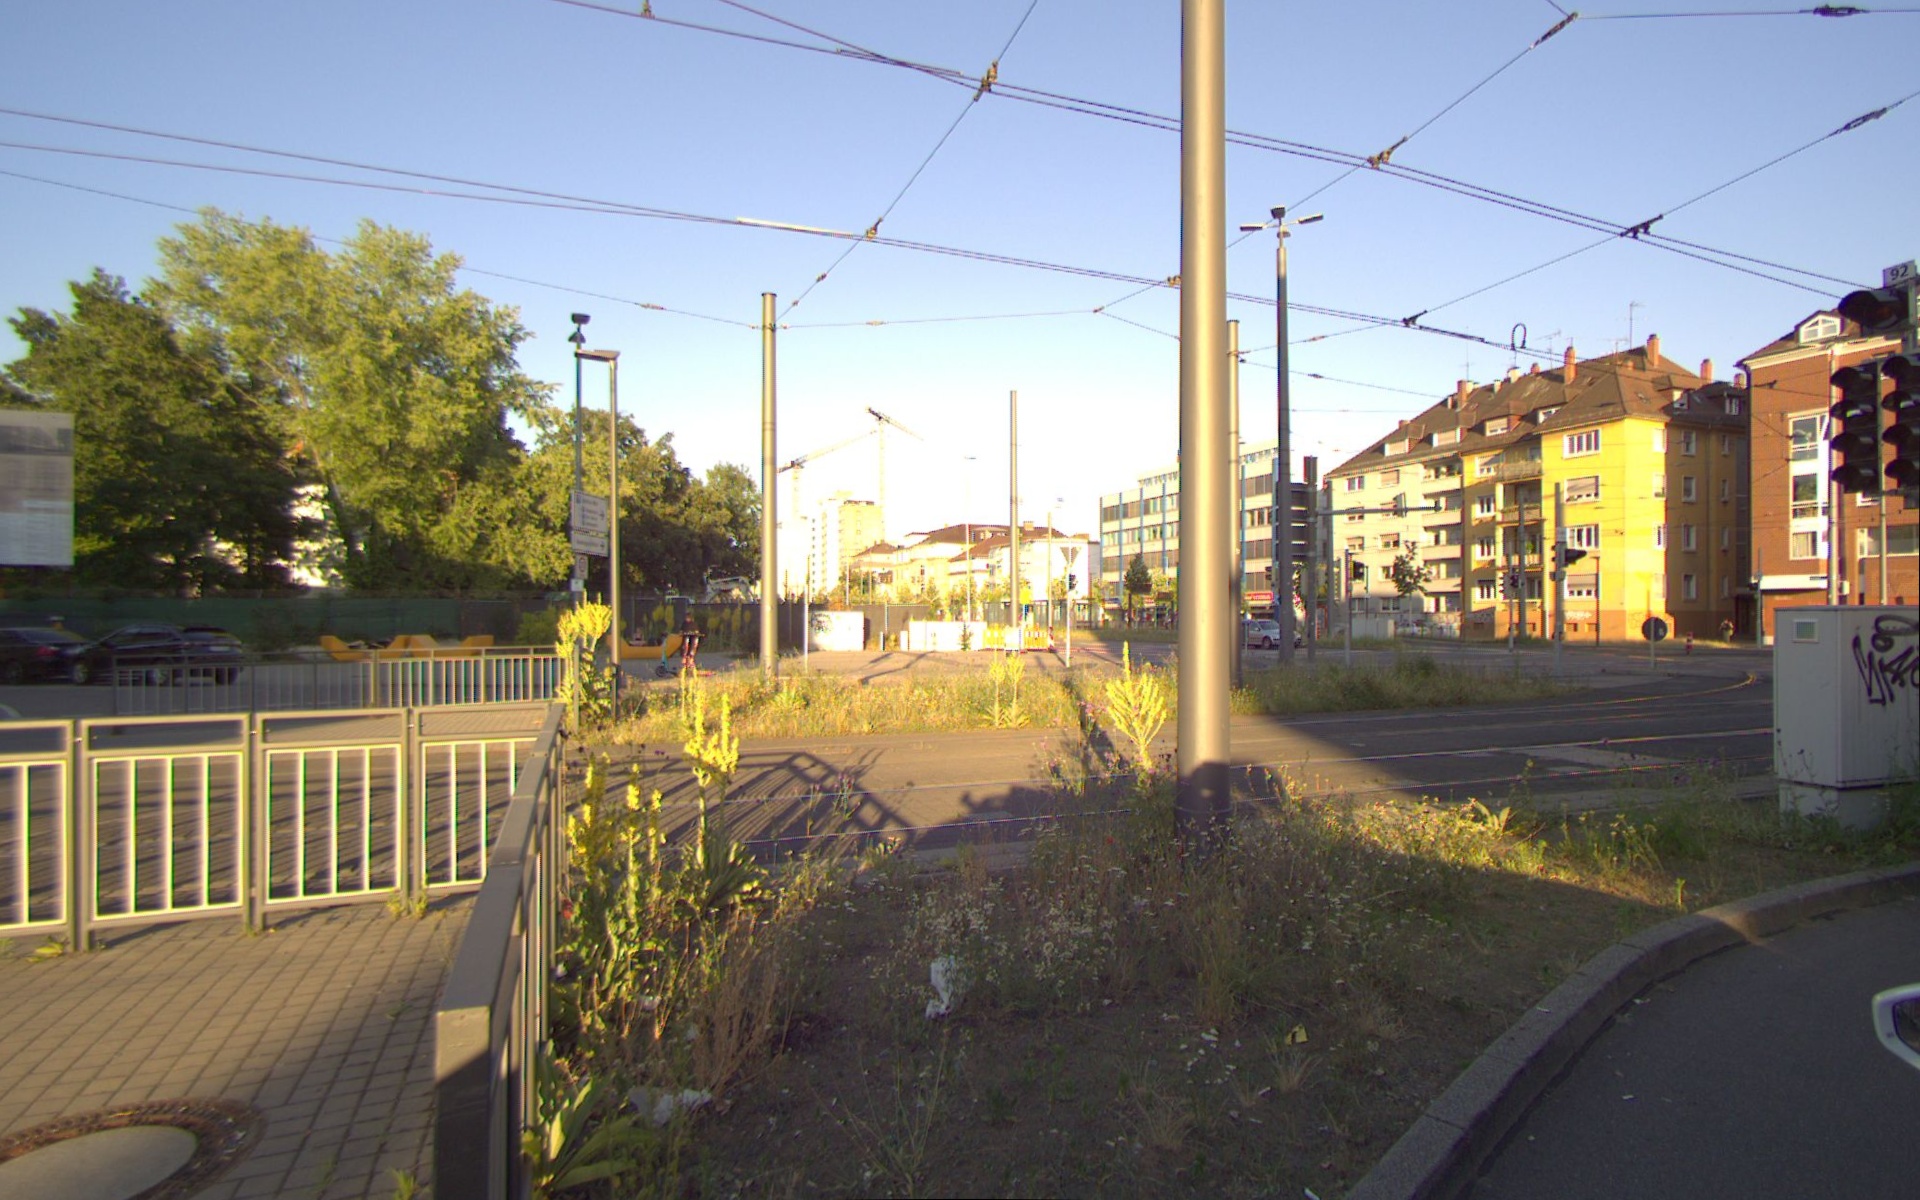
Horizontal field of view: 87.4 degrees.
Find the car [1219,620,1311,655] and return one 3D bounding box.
[{"bbox_3d":[15.032,1.799,49.717,1.973,1.572,4.325,0,0,-25],"label":"car"}]

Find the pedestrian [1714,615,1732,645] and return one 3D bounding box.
[{"bbox_3d":[46.161,1.804,60.777,0.684,1.766,0.661,1,0,-37],"label":"pedestrian"}]

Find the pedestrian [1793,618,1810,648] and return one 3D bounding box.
[{"bbox_3d":[47.875,1.870,57.133,0.493,1.664,0.550,0,1,-19],"label":"pedestrian"}]

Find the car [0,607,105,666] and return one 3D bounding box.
[{"bbox_3d":[-32.960,1.265,35.303,3.942,2.040,1.990,0,-1,-22],"label":"car"}]

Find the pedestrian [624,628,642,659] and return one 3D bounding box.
[{"bbox_3d":[-13.336,1.765,41.000,0.694,1.227,0.723,0,1,-19],"label":"pedestrian"}]

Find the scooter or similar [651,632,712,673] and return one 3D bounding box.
[{"bbox_3d":[-7.704,1.440,27.793,1.612,1.077,0.421,0,1,-43],"label":"scooter or similar"}]

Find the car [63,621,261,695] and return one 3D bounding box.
[{"bbox_3d":[-19.689,1.372,24.817,3.920,1.567,2.000,1,1,18],"label":"car"}]

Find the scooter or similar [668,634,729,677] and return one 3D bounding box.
[{"bbox_3d":[-7.137,1.507,27.486,1.612,1.097,0.421,0,1,-43],"label":"scooter or similar"}]

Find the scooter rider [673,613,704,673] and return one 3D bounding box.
[{"bbox_3d":[-7.555,1.179,27.980,0.652,1.614,0.580,0,1,-39],"label":"scooter rider"}]

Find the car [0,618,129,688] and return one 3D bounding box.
[{"bbox_3d":[-24.133,1.317,26.190,3.920,1.598,2.000,1,1,18],"label":"car"}]
